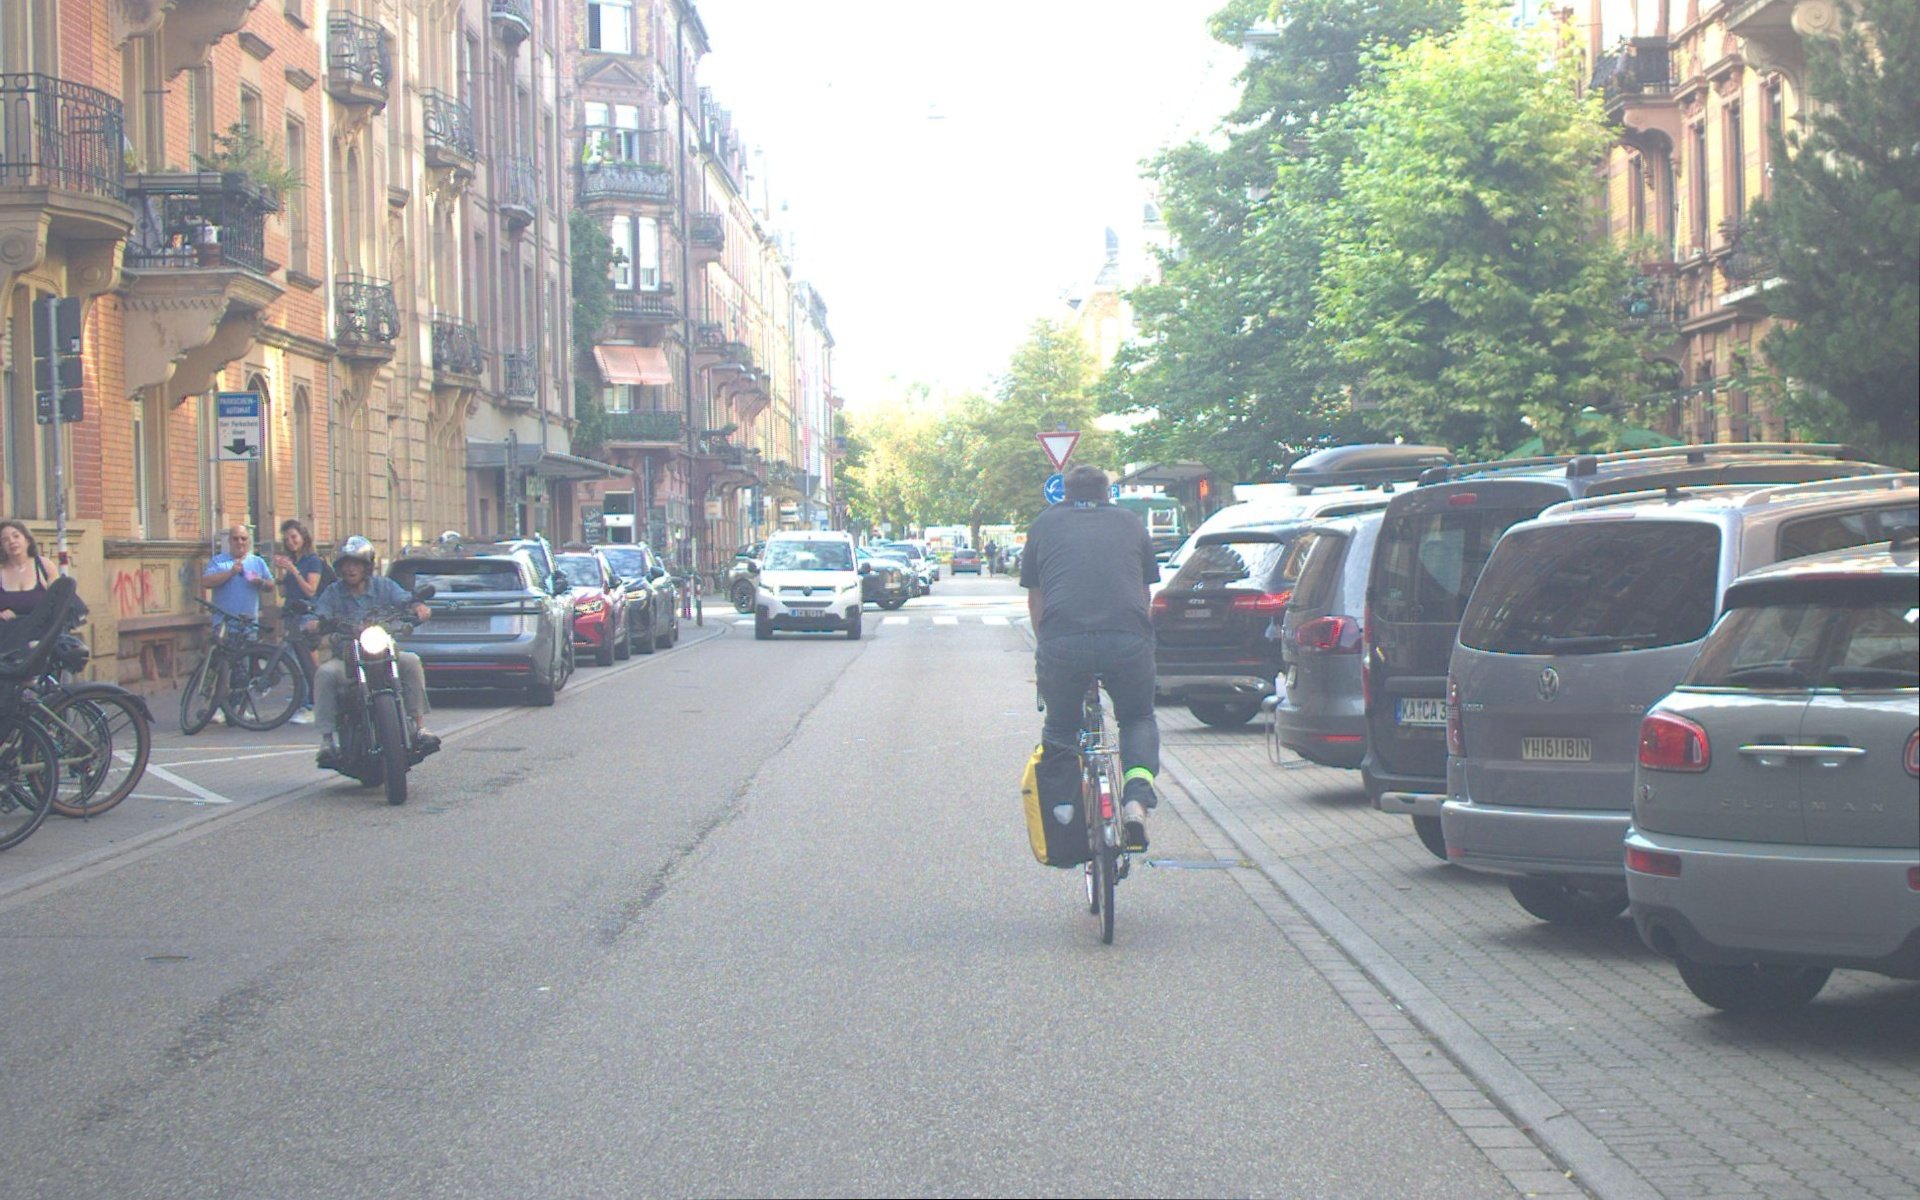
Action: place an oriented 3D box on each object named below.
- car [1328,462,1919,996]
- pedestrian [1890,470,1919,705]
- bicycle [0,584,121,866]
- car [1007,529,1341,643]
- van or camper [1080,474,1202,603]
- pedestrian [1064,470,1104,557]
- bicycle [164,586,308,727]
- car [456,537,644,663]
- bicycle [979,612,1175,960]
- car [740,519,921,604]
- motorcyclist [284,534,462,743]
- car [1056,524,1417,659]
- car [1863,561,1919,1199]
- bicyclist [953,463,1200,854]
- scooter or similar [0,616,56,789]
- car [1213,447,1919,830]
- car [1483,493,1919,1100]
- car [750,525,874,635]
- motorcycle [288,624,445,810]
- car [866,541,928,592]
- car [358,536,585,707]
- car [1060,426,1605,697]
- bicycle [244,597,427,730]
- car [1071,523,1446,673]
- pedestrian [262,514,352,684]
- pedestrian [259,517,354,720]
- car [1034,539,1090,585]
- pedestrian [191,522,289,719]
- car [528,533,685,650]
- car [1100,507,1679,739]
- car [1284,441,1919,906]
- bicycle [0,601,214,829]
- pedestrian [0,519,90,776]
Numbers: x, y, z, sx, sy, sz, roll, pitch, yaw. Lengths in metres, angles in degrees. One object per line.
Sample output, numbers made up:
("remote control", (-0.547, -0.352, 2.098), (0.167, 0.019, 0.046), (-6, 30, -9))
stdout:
("car", (3.599, 0.352, 13.160), (3.987, 1.735, 1.840), (-3, 1, -31))
("pedestrian", (7.233, -0.092, 24.922), (0.646, 1.689, 0.699), (-1, 1, -43))
("bicycle", (-4.854, 0.588, 16.198), (1.672, 1.317, 0.527), (0, 1, -36))
("car", (3.330, -0.251, 53.377), (4.753, 1.452, 2.057), (-4, 3, -28))
("van or camper", (4.405, -1.521, 84.469), (2.531, 3.027, 4.459), (-1, 1, -2))
("pedestrian", (2.523, -1.761, 69.898), (0.629, 1.733, 0.775), (-1, 1, 12))
("bicycle", (-5.903, 0.444, 28.128), (0.493, 1.091, 1.904), (1, 1, 9))
("car", (-5.374, -0.025, 45.543), (1.993, 1.539, 4.427), (-1, 1, -1))
("bicycle", (0.416, 0.658, 13.324), (0.665, 1.174, 2.497), (0, 1, 0))
("car", (-2.878, -0.865, 76.891), (3.987, 1.875, 2.000), (0, 1, -1))
("motorcyclist", (-3.548, 0.222, 20.857), (1.013, 1.241, 0.803), (0, 1, -6))
("car", (3.645, -0.143, 44.952), (4.455, 1.459, 1.879), (-4, 3, -34))
("car", (4.185, 0.479, 7.892), (3.987, 1.446, 1.736), (-5, 1, -32))
("bicyclist", (0.440, 0.217, 13.372), (0.933, 1.478, 0.747), (0, 1, 0))
("scooter or similar", (-6.110, 0.638, 21.761), (0.605, 1.051, 0.922), (0, 1, -5))
("car", (3.868, 0.152, 19.340), (4.636, 1.778, 1.810), (-4, 3, -1))
("car", (3.728, 0.413, 10.567), (3.988, 1.543, 1.868), (-4, 2, -37))
("car", (-2.499, -0.362, 59.007), (1.917, 1.822, 4.438), (0, 1, 0))
("motorcycle", (-3.545, 0.670, 20.718), (0.793, 0.992, 2.500), (0, 1, -7))
("car", (-1.837, -0.967, 99.854), (1.750, 1.431, 4.212), (0, 0, -2))
("car", (-4.761, 0.157, 34.147), (1.825, 1.573, 5.264), (0, 1, -4))
("car", (3.681, -0.416, 33.515), (5.143, 2.397, 1.918), (-3, 1, -33))
("bicycle", (-5.147, 0.505, 28.444), (0.482, 1.055, 1.902), (1, 1, 24))
("car", (3.693, -0.051, 42.051), (4.456, 1.472, 1.889), (-6, 3, -39))
("pedestrian", (-7.032, -0.015, 37.046), (0.756, 1.802, 0.863), (0, 1, 4))
("pedestrian", (-5.553, 0.148, 29.202), (0.564, 1.703, 0.667), (0, 1, -35))
("car", (3.238, -1.225, 109.490), (1.645, 1.320, 3.576), (-4, 1, 2))
("pedestrian", (-6.144, 0.167, 29.336), (0.679, 1.655, 0.551), (0, 1, -30))
("car", (-5.190, -0.147, 51.014), (1.790, 1.623, 4.847), (-1, 1, 0))
("car", (3.504, 0.119, 27.735), (4.444, 1.726, 2.000), (-1, 2, -35))
("car", (3.824, 0.226, 15.790), (4.390, 1.816, 1.755), (-4, 1, -32))
("bicycle", (-5.132, 0.603, 18.357), (0.807, 1.155, 2.265), (1, 1, 37))
("pedestrian", (-6.233, 0.300, 22.594), (0.910, 1.655, 0.828), (0, 1, -8))
